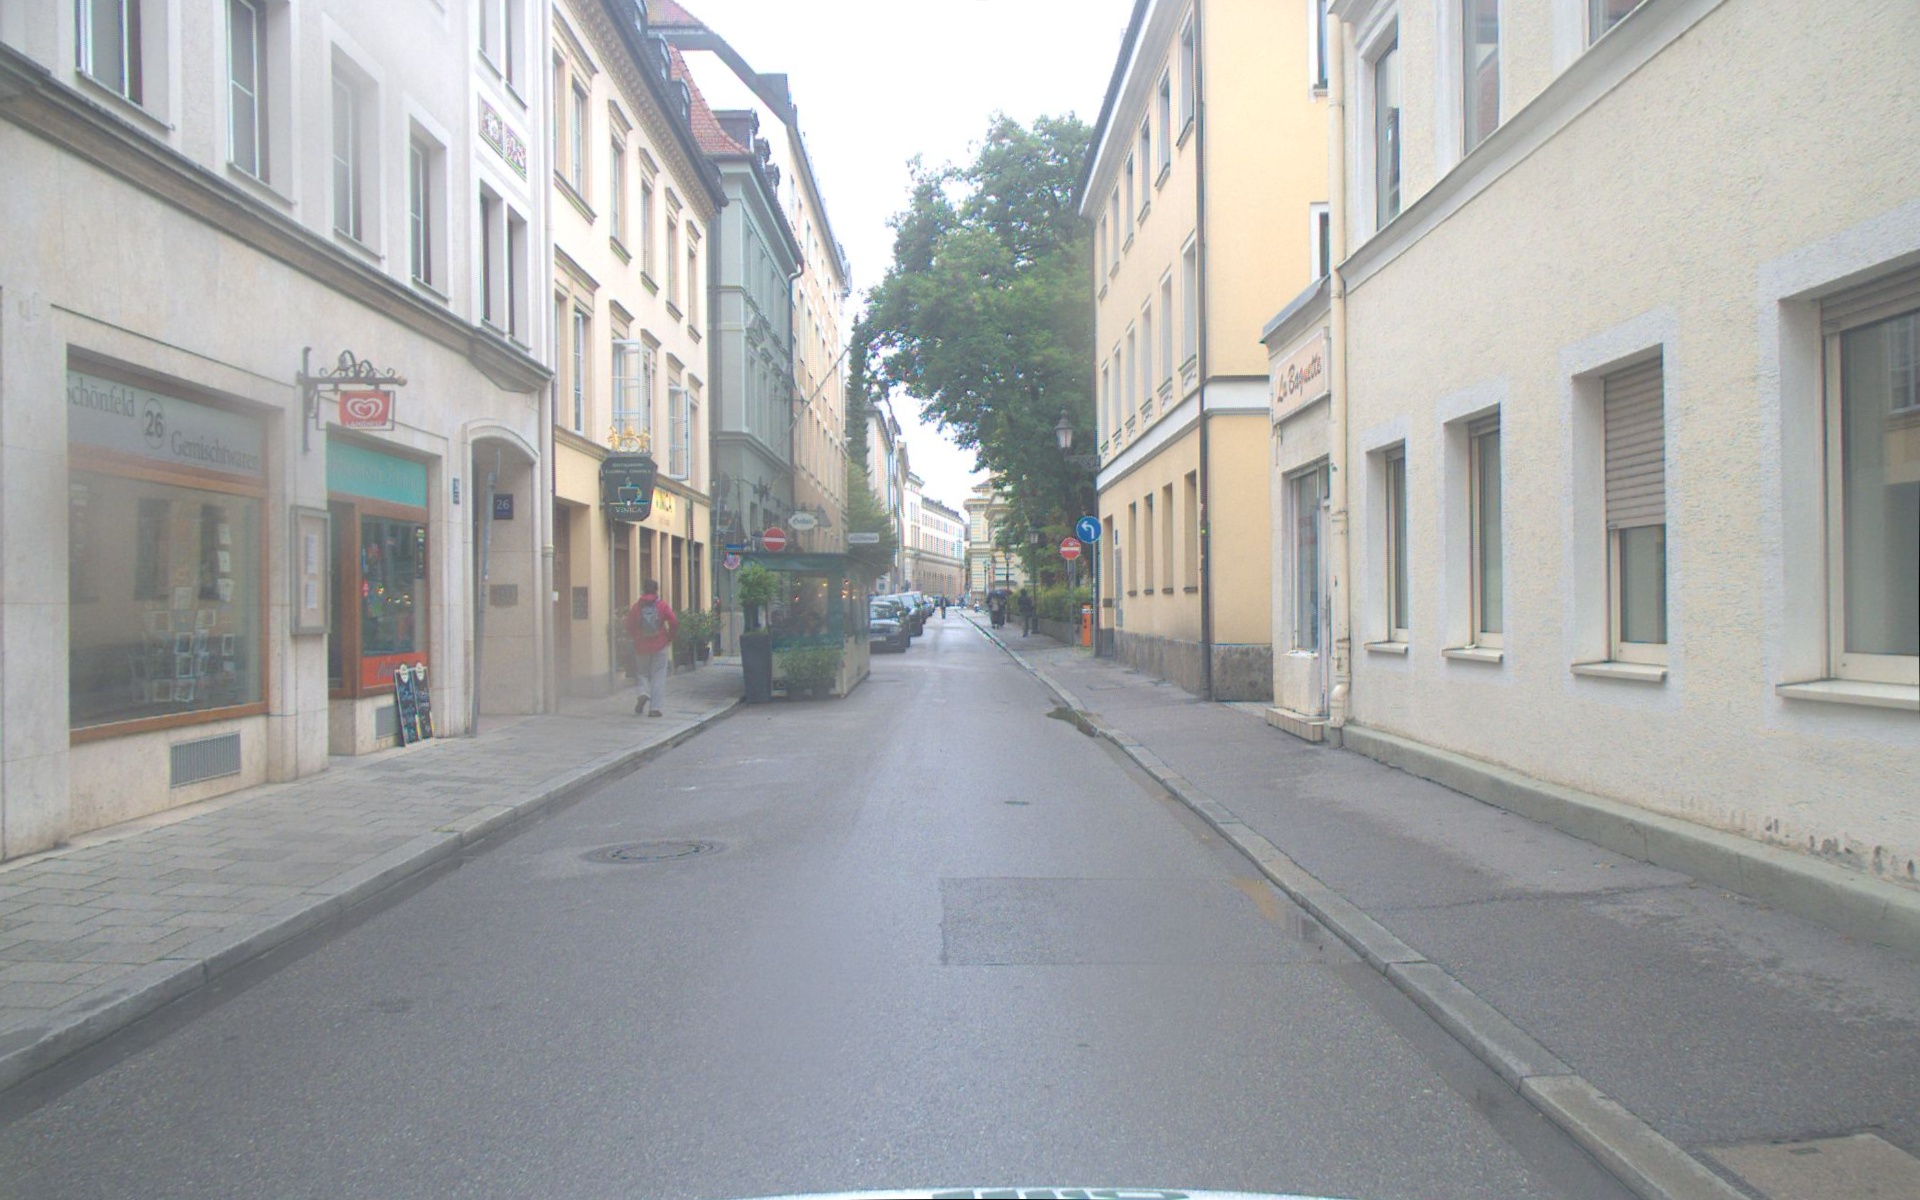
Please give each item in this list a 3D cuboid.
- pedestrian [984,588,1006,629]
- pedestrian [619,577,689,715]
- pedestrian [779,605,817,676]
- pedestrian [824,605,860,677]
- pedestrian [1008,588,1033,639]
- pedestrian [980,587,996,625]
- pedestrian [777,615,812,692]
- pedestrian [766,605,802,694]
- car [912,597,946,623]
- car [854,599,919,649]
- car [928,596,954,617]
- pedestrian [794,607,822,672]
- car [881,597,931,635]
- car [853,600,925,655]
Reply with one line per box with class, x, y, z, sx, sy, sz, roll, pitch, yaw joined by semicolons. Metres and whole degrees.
pedestrian;1.585;0.374;75.066;0.995;1.833;1.349;0;0;0
pedestrian;-3.935;0.579;21.316;0.750;1.738;0.785;-1;0;-3
pedestrian;-3.107;0.773;31.758;0.660;1.350;0.696;0;0;-2
pedestrian;-2.248;0.781;31.624;0.660;1.350;0.696;0;0;-2
pedestrian;2.172;0.487;59.727;0.862;1.833;1.046;0;0;0
pedestrian;1.351;0.291;80.264;0.777;1.833;0.903;0;0;0
pedestrian;-2.641;0.855;26.448;0.499;1.208;0.630;0;0;-2
pedestrian;-2.705;0.755;25.449;0.499;1.350;0.630;0;0;-2
car;-1.793;0.574;96.330;1.742;1.492;3.543;0;0;2
car;-2.263;0.714;51.641;1.742;1.492;3.543;0;0;2
car;-1.385;0.486;120.413;1.742;1.492;3.543;0;0;2
pedestrian;-3.005;0.781;32.758;0.499;1.259;0.630;0;0;-2
car;-2.157;0.634;66.598;1.742;1.492;3.543;0;0;2
car;-1.975;0.752;46.981;1.742;1.492;3.664;0;0;2
